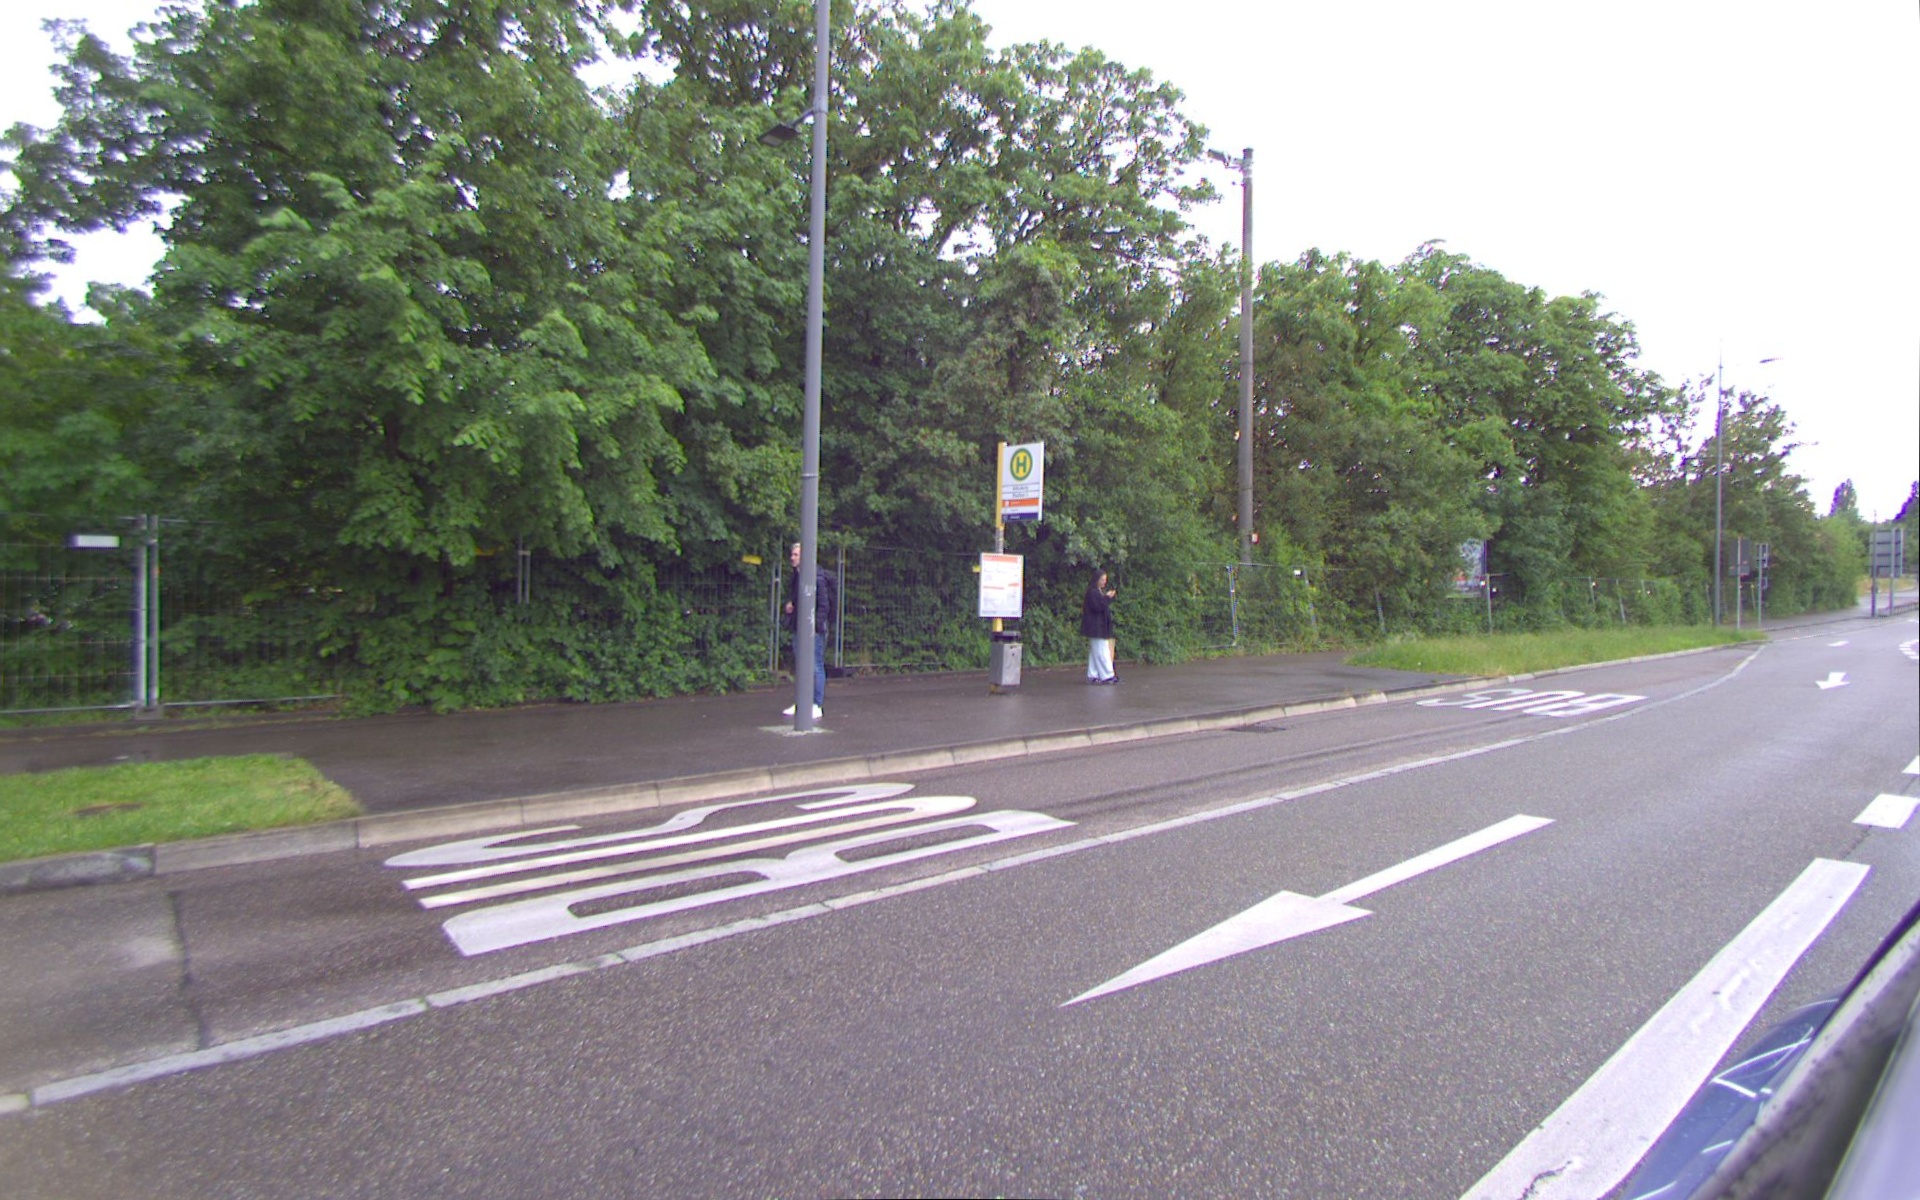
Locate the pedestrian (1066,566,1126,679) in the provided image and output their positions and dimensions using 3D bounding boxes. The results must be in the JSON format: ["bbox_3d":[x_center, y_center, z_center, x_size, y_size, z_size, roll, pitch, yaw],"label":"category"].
[{"bbox_3d":[2.048,0.324,15.246,0.650,1.648,0.588,0,1,-40],"label":"pedestrian"}]

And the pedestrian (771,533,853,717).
[{"bbox_3d":[-1.662,0.255,11.347,0.587,1.973,0.742,0,1,-40],"label":"pedestrian"}]
